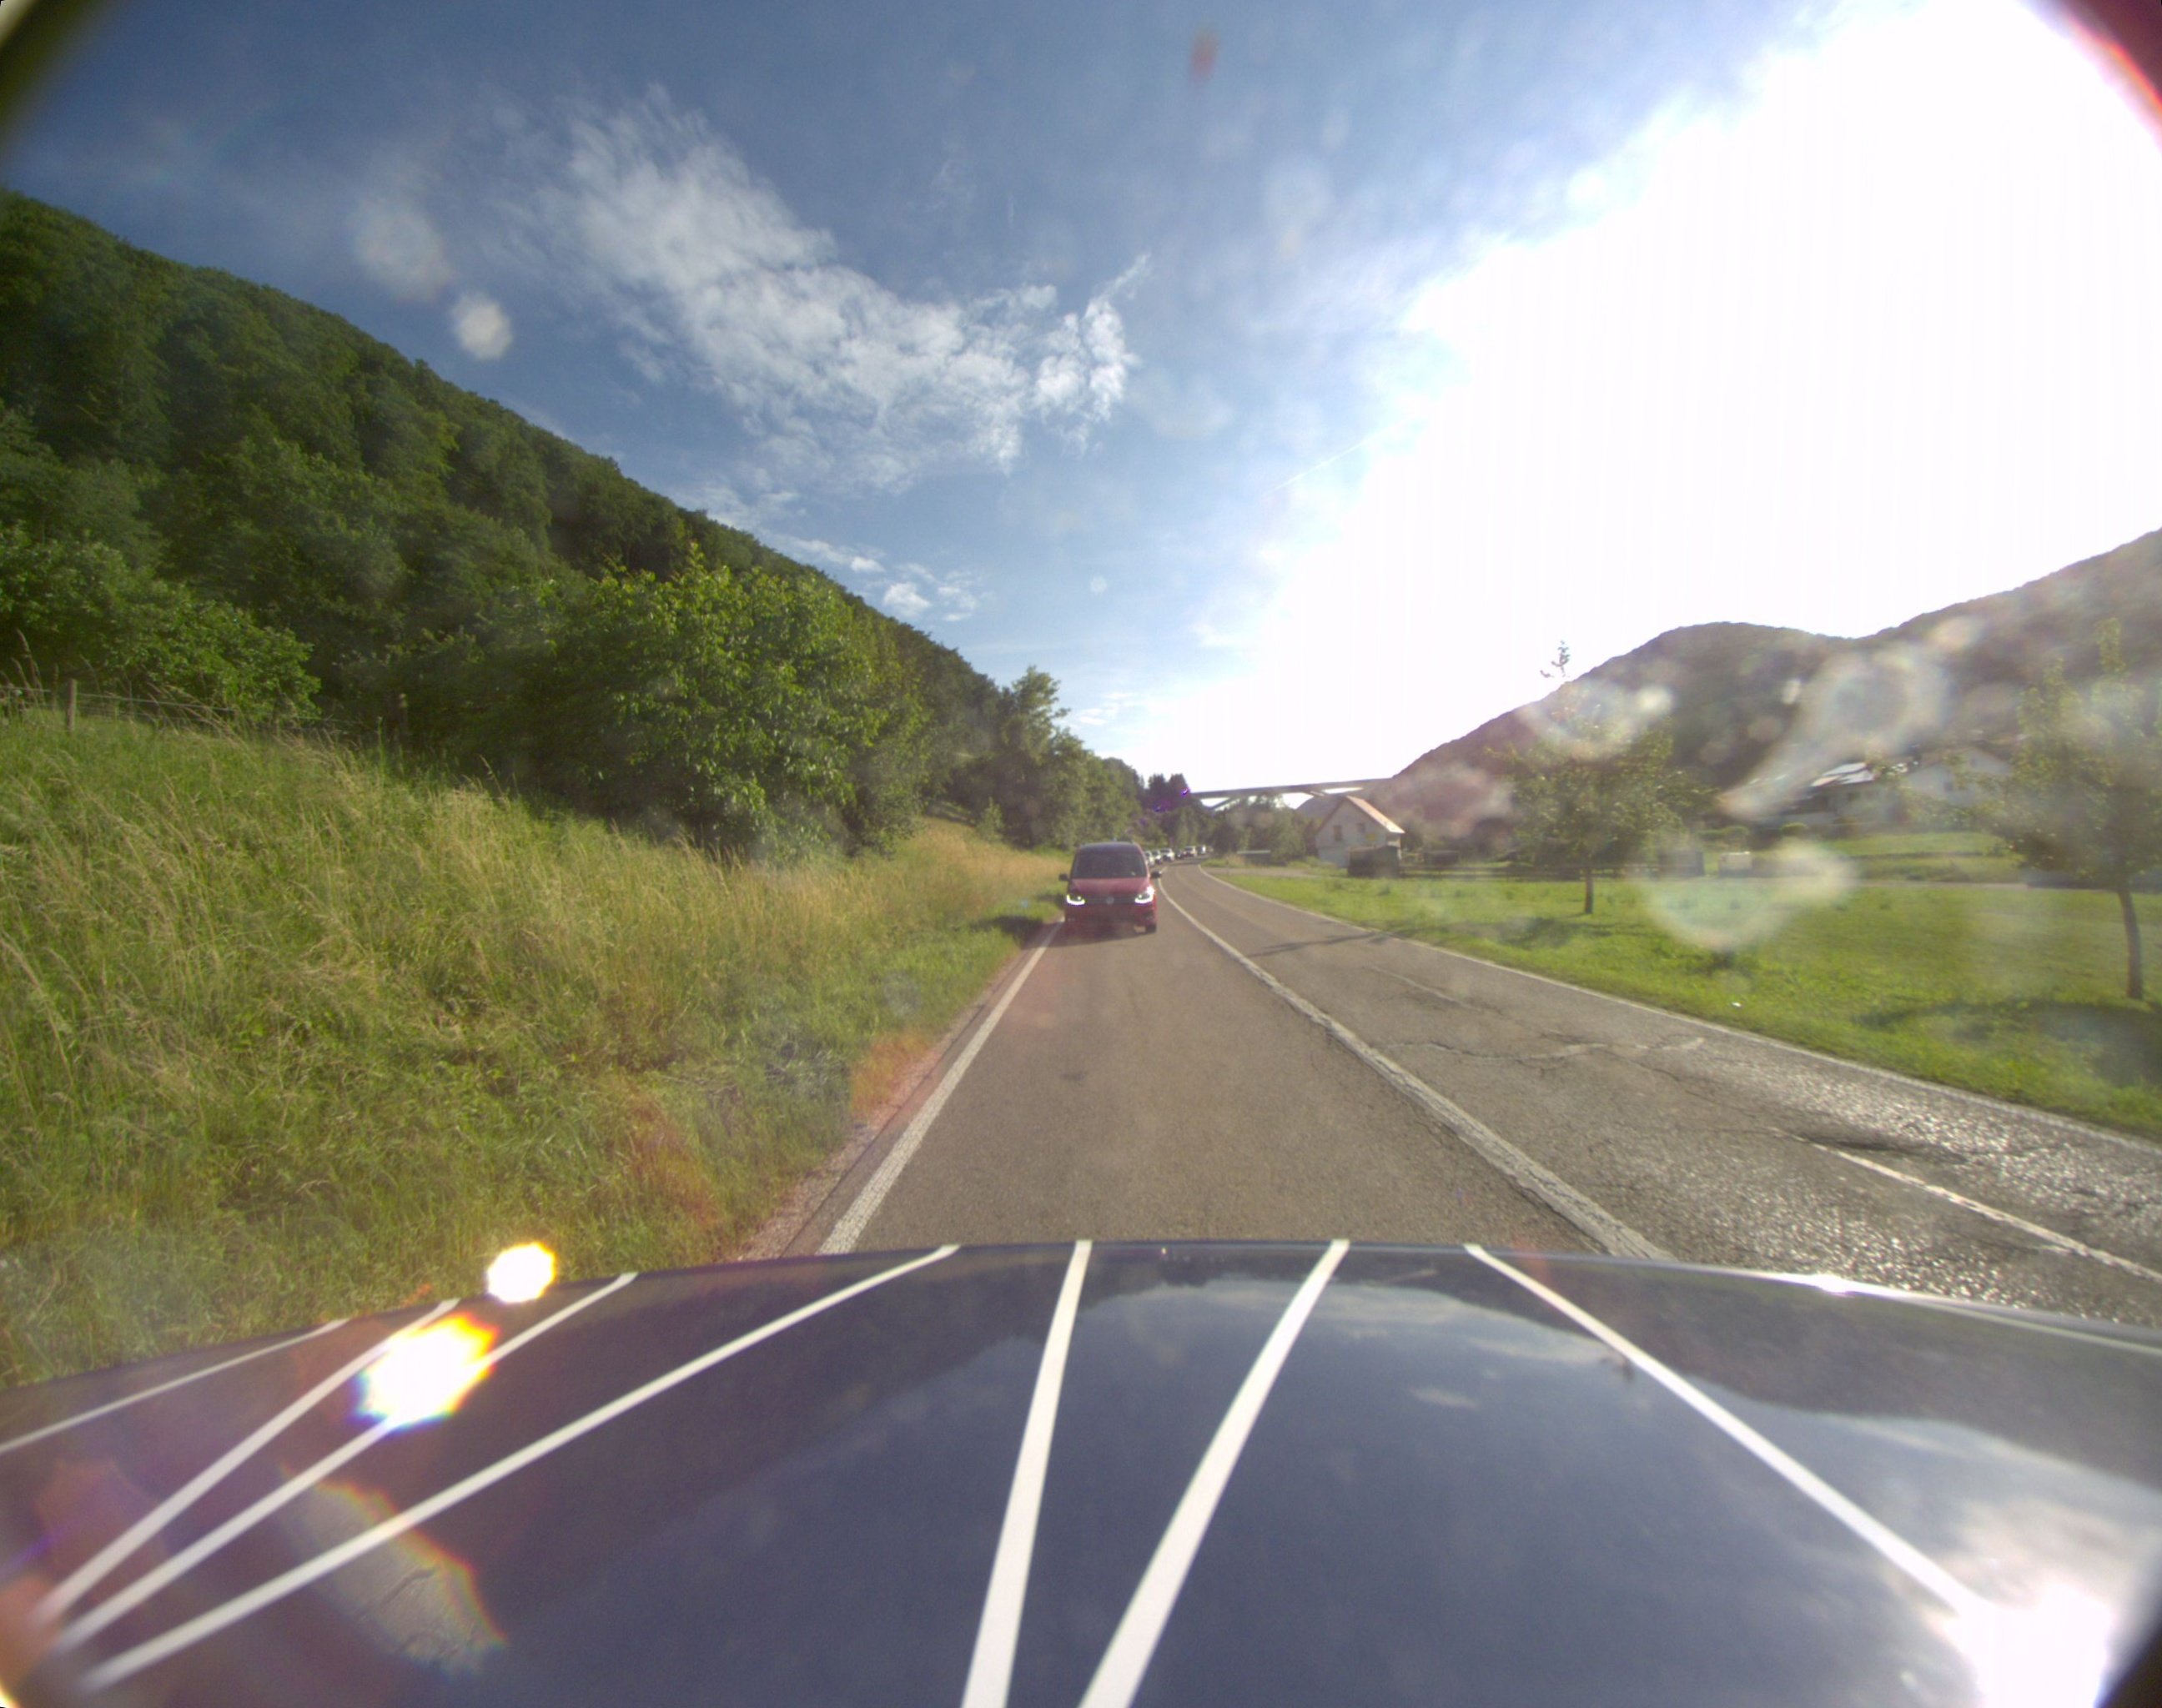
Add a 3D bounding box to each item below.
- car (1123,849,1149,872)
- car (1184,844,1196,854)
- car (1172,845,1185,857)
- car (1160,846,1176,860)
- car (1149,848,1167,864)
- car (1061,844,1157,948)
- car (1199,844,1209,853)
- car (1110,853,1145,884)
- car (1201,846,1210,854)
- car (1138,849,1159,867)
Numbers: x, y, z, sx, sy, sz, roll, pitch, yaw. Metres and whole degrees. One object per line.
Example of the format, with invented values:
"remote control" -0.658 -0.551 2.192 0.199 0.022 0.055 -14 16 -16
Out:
"car" 4.020 0.458 54.926 1.629 1.470 3.680 -2 1 7
"car" 17.368 -0.846 120.841 1.629 1.470 3.680 -2 1 6
"car" 13.434 -0.444 104.649 1.629 1.470 3.681 -2 1 10
"car" 10.225 -0.113 89.684 1.630 1.470 3.679 -2 1 3
"car" 7.849 0.170 77.958 1.630 1.470 3.679 -2 1 3
"car" 0.601 0.723 15.448 1.649 1.762 4.000 -2 1 3
"car" 21.993 -1.039 135.466 1.629 1.470 3.681 -2 1 10
"car" 2.553 0.732 41.157 1.629 1.470 3.680 -2 1 7
"car" 24.237 -0.770 147.521 1.629 1.470 3.681 -2 1 10
"car" 5.966 0.338 66.689 1.629 1.470 3.680 -2 1 7
